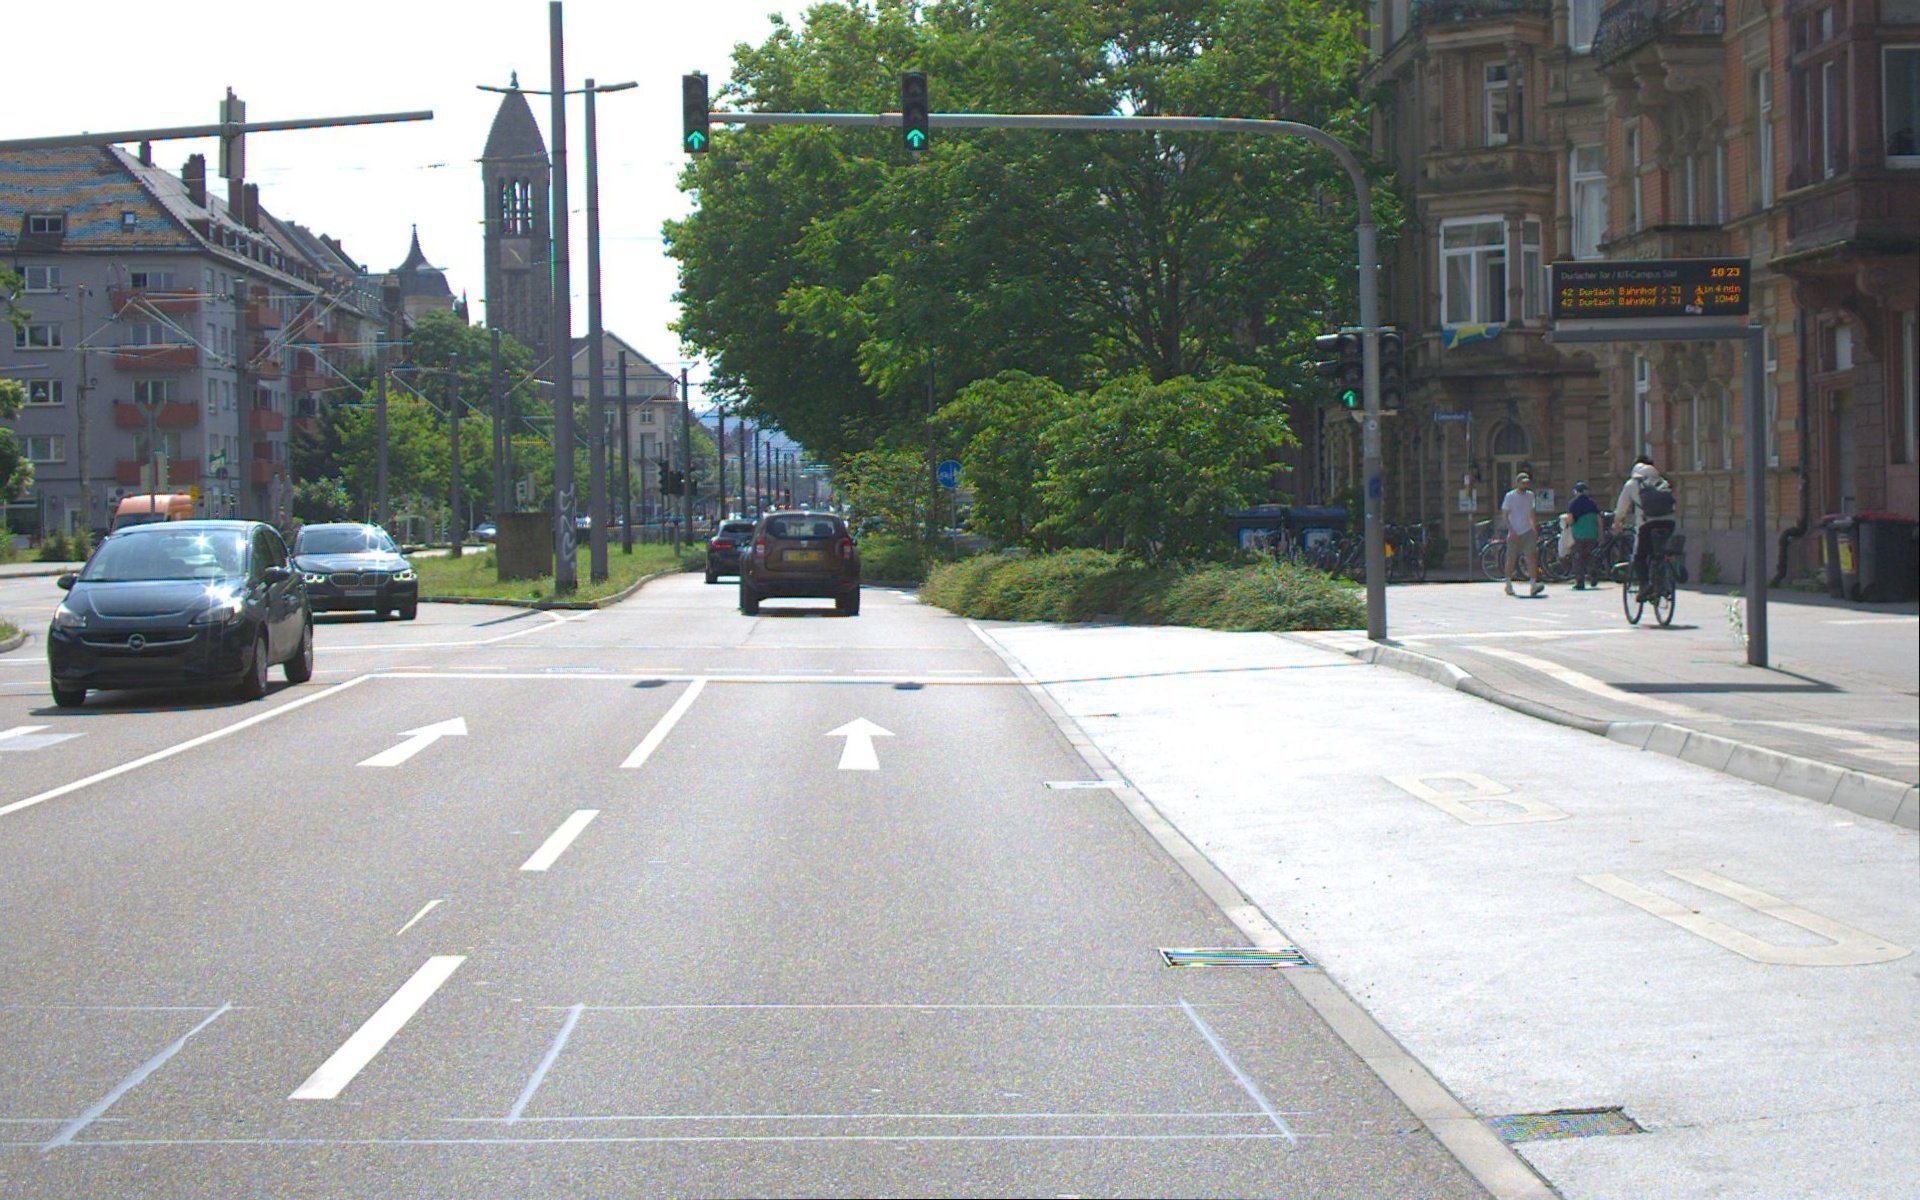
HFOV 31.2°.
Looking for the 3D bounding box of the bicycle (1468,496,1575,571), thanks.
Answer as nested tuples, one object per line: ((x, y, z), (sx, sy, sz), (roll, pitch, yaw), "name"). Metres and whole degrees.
((9.697, -1.154, 59.396), (1.769, 1.263, 0.466), (-1, 4, 2), "bicycle")

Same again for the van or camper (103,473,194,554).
((-28.354, -3.014, 120.281), (2.255, 2.728, 6.205), (-1, 1, -6), "van or camper")

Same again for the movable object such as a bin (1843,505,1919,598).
((11.219, -0.594, 41.673), (0.785, 1.104, 0.777), (-1, 1, -3), "movable object such as a bin")

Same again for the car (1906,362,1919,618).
((10.493, -1.020, 31.259), (1.993, 2.516, 5.889), (-1, 2, -2), "car")

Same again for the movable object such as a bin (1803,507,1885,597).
((11.138, -0.605, 43.322), (0.785, 1.104, 0.777), (-1, 1, -3), "movable object such as a bin")

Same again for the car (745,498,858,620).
((-2.519, -0.676, 54.181), (1.688, 1.705, 3.610), (-1, 4, -3), "car")

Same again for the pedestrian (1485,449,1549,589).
((8.104, -1.176, 50.029), (0.768, 2.007, 0.715), (-1, 1, -1), "pedestrian")

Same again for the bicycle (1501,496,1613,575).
((9.885, -1.067, 56.955), (1.769, 1.263, 0.466), (-1, 4, 2), "bicycle")

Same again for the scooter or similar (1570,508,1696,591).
((10.234, -0.767, 52.260), (1.769, 1.181, 0.466), (-3, 1, -1), "scooter or similar")

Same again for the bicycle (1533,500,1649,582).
((10.084, -0.945, 54.979), (1.769, 1.263, 0.466), (-1, 4, 2), "bicycle")

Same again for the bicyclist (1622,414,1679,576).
((7.386, -1.128, 36.794), (0.427, 1.712, 0.828), (-1, 2, -1), "bicyclist")

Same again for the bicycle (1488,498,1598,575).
((9.786, -1.071, 57.757), (1.769, 1.263, 0.466), (-1, 4, 2), "bicycle")

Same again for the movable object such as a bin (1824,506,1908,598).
((11.181, -0.599, 42.429), (0.785, 1.104, 0.777), (-1, 1, -3), "movable object such as a bin")

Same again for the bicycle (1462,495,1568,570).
((9.695, -1.185, 60.078), (1.769, 1.263, 0.466), (-1, 4, 2), "bicycle")

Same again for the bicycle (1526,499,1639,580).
((10.042, -0.984, 55.510), (1.746, 1.263, 0.466), (-1, 4, 2), "bicycle")

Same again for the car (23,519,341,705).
((-6.429, 0.052, 28.803), (1.915, 1.412, 3.742), (-1, 1, -2), "car")

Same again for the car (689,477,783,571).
((-5.061, -1.714, 77.271), (1.993, 2.007, 4.001), (-2, 1, -4), "car")

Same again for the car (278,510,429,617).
((-9.312, -0.593, 53.084), (1.817, 1.546, 4.561), (-1, 1, -4), "car")

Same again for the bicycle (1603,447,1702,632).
((7.403, -0.655, 36.822), (0.683, 1.919, 1.590), (-1, 1, -1), "bicycle")

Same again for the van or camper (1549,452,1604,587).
((9.317, -1.216, 51.971), (0.666, 2.007, 0.638), (-1, 1, -1), "van or camper")
